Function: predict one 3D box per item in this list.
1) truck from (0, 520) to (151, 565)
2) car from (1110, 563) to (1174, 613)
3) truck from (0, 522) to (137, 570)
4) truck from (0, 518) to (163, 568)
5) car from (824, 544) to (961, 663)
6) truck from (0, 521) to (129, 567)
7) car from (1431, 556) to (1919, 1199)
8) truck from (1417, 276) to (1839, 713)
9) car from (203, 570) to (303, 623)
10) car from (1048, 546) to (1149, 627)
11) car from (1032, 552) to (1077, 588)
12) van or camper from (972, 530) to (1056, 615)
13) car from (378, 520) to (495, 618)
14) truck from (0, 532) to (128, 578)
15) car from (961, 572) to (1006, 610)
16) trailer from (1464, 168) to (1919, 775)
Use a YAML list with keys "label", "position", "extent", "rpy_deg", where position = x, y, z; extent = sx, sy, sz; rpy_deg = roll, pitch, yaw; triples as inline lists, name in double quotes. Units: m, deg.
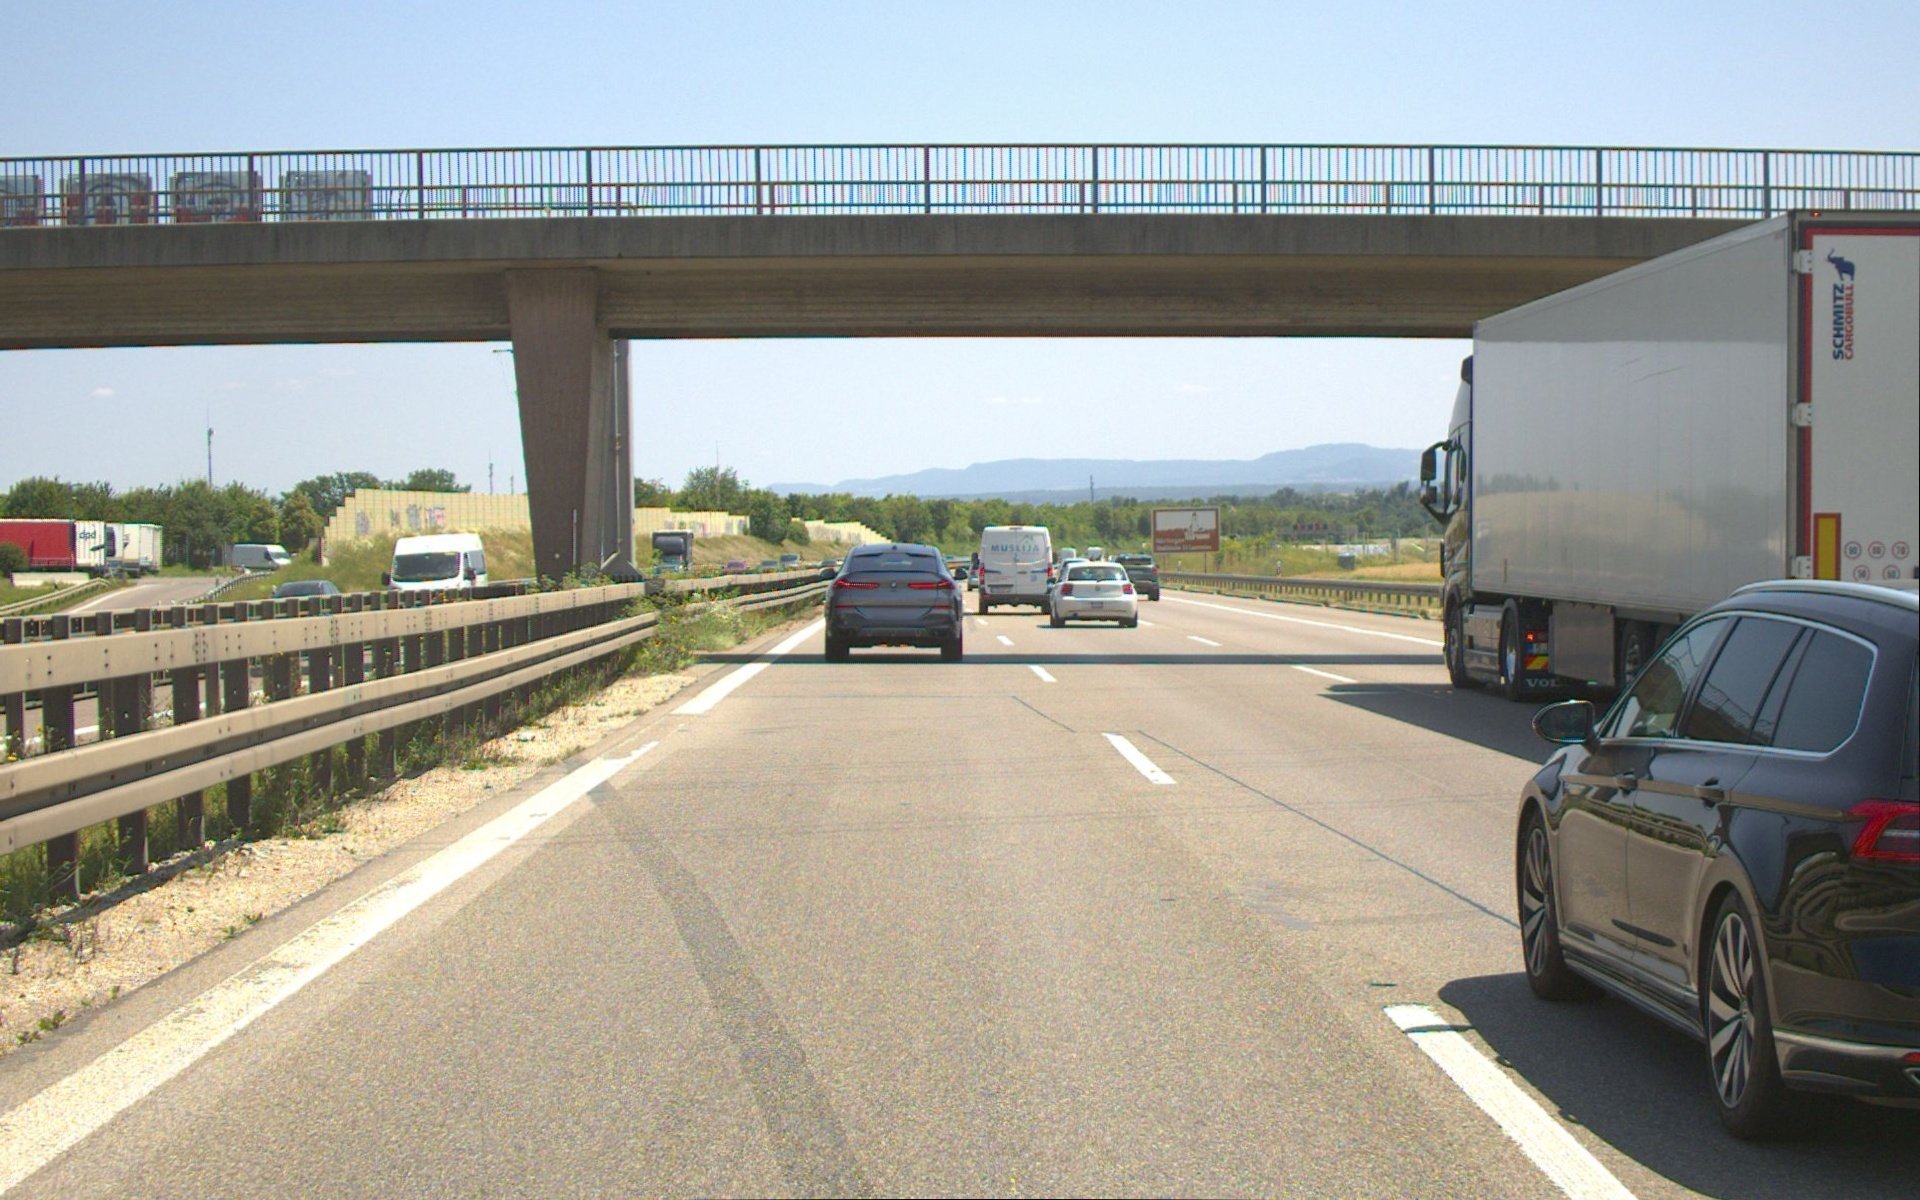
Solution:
- label: "truck"
  position: [-64.927, -4.075, 245.860]
  extent: [14.418, 3.129, 2.660]
  rpy_deg: [0, 1, -44]
- label: "car"
  position: [6.378, -0.431, 120.898]
  extent: [1.993, 1.677, 4.000]
  rpy_deg: [0, 1, 0]
- label: "truck"
  position: [-61.798, -3.571, 228.497]
  extent: [14.418, 3.129, 2.660]
  rpy_deg: [0, 1, -44]
- label: "truck"
  position: [-58.430, -3.648, 221.691]
  extent: [14.418, 3.129, 2.660]
  rpy_deg: [0, 1, -44]
- label: "car"
  position: [-1.023, 0.028, 50.224]
  extent: [1.851, 1.658, 3.735]
  rpy_deg: [0, 1, -3]
- label: "truck"
  position: [-65.268, -3.900, 240.629]
  extent: [14.418, 3.129, 2.660]
  rpy_deg: [0, 1, -44]
- label: "car"
  position: [2.726, 0.667, 10.029]
  extent: [1.933, 1.569, 4.935]
  rpy_deg: [0, 1, -1]
- label: "truck"
  position: [6.989, -1.072, 37.199]
  extent: [2.979, 4.213, 7.687]
  rpy_deg: [0, 1, 0]
- label: "car"
  position: [-19.565, -0.121, 95.275]
  extent: [1.993, 1.393, 4.000]
  rpy_deg: [0, 1, -1]
- label: "car"
  position: [2.979, -0.310, 74.536]
  extent: [1.993, 1.677, 4.000]
  rpy_deg: [0, 1, 0]
- label: "car"
  position: [4.482, -1.449, 163.231]
  extent: [1.993, 1.677, 4.000]
  rpy_deg: [0, 1, 0]
- label: "van or camper"
  position: [1.418, -0.758, 92.209]
  extent: [2.110, 2.204, 5.266]
  rpy_deg: [0, 1, 0]
- label: "car"
  position: [-13.901, -0.848, 91.686]
  extent: [2.199, 2.501, 6.331]
  rpy_deg: [0, 1, -1]
- label: "truck"
  position: [-64.430, -3.073, 236.856]
  extent: [14.418, 3.129, 2.660]
  rpy_deg: [0, 1, -44]
- label: "car"
  position: [1.056, -0.427, 158.534]
  extent: [1.993, 1.677, 4.000]
  rpy_deg: [0, 1, 0]
- label: "trailer"
  position: [7.007, -0.968, 30.539]
  extent: [2.943, 4.184, 13.597]
  rpy_deg: [0, 1, 0]
